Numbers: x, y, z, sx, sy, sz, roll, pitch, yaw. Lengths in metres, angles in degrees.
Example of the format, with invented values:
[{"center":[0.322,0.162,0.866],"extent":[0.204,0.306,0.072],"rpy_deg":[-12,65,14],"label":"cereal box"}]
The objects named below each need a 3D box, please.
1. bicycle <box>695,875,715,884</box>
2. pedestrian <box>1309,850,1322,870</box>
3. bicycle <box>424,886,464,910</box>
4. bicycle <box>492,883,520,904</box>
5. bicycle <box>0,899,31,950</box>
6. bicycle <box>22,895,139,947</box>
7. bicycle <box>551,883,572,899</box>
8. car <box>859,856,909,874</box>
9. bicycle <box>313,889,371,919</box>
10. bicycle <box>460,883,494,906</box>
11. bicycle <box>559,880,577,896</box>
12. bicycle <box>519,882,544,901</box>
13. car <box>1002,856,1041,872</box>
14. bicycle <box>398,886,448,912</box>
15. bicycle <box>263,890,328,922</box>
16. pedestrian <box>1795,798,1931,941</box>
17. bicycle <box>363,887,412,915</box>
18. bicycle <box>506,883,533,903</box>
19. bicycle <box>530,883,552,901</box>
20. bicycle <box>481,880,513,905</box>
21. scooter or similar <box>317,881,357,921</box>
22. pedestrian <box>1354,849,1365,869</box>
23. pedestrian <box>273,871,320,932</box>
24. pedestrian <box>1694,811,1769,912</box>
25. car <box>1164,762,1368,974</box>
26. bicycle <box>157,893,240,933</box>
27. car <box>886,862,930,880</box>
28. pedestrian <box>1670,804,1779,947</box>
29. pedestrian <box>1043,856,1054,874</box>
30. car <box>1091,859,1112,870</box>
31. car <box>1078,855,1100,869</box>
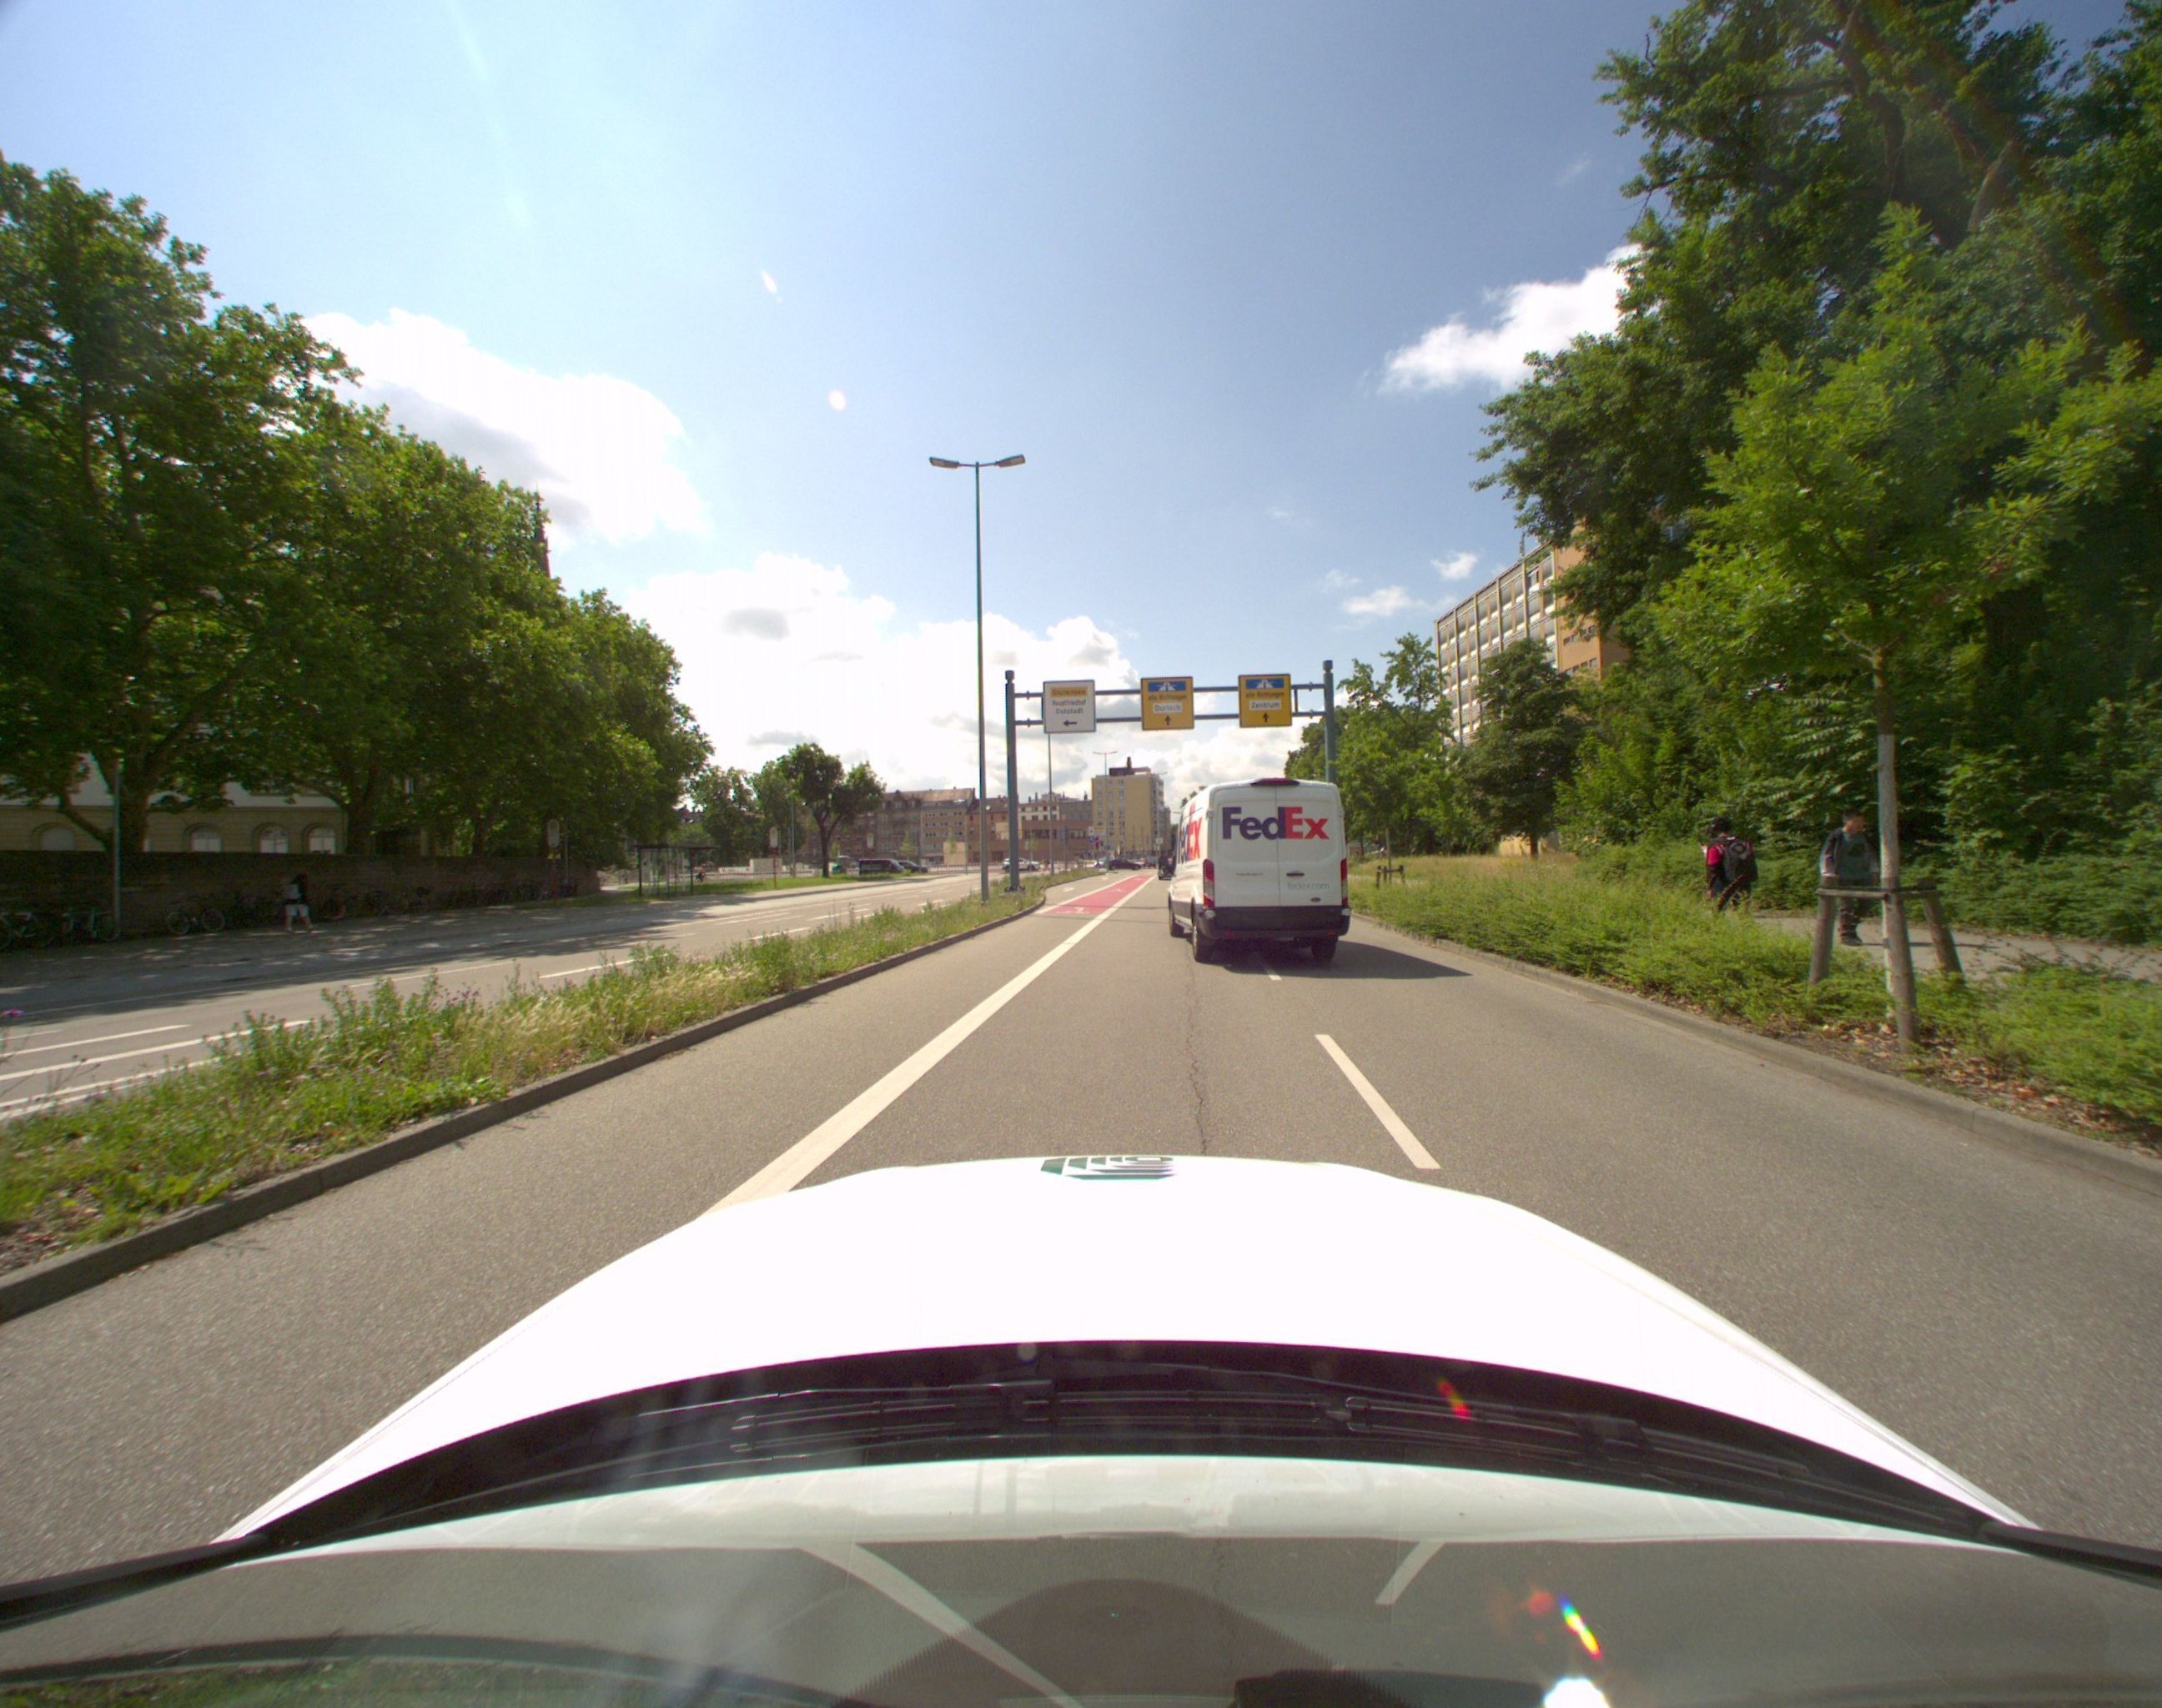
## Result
[{"center":[-43.093,2.936,93.329],"extent":[1.915,1.030,0.547],"rpy_deg":[-1,-1,-2],"label":"bicycle"},{"center":[18.160,0.473,63.056],"extent":[0.840,1.539,0.836],"rpy_deg":[-1,0,5],"label":"pedestrian"},{"center":[-25.897,1.778,33.139],"extent":[0.543,0.902,1.660],"rpy_deg":[-1,0,-10],"label":"bicycle"},{"center":[-27.553,1.876,39.019],"extent":[0.544,0.902,1.657],"rpy_deg":[-1,0,-15],"label":"bicycle"},{"center":[-23.174,1.508,16.849],"extent":[0.543,1.047,1.945],"rpy_deg":[-1,0,-6],"label":"bicycle"},{"center":[-23.313,1.539,19.025],"extent":[0.543,1.047,1.891],"rpy_deg":[-1,0,-6],"label":"bicycle"},{"center":[-30.193,2.139,47.331],"extent":[0.544,0.902,1.657],"rpy_deg":[-1,0,-15],"label":"bicycle"},{"center":[-21.577,1.230,89.298],"extent":[4.988,1.879,1.930],"rpy_deg":[-1,0,2],"label":"car"},{"center":[-24.628,1.639,27.184],"extent":[0.543,0.902,1.662],"rpy_deg":[-1,0,-6],"label":"bicycle"},{"center":[-26.544,1.765,35.811],"extent":[0.544,0.951,1.659],"rpy_deg":[-1,0,-11],"label":"bicycle"},{"center":[-31.001,2.044,49.243],"extent":[0.545,0.902,1.654],"rpy_deg":[-1,0,-20],"label":"bicycle"},{"center":[-28.507,1.945,42.289],"extent":[0.544,0.902,1.657],"rpy_deg":[-1,0,-15],"label":"bicycle"},{"center":[-6.841,1.184,93.800],"extent":[4.341,1.794,2.000],"rpy_deg":[-1,-1,1],"label":"car"},{"center":[-25.291,1.728,31.332],"extent":[0.500,0.902,1.666],"rpy_deg":[-1,0,2],"label":"bicycle"},{"center":[-24.351,1.602,25.295],"extent":[0.543,0.902,1.661],"rpy_deg":[-1,-1,-6],"label":"bicycle"},{"center":[9.860,0.197,10.314],"extent":[0.809,1.722,0.931],"rpy_deg":[-1,-1,7],"label":"pedestrian"},{"center":[-25.158,1.700,29.566],"extent":[0.543,0.902,1.660],"rpy_deg":[-1,0,-9],"label":"bicycle"},{"center":[-28.022,1.925,40.671],"extent":[0.544,0.902,1.657],"rpy_deg":[-1,0,-15],"label":"bicycle"},{"center":[-29.126,2.017,43.953],"extent":[0.453,0.902,1.785],"rpy_deg":[-1,0,-15],"label":"bicycle"},{"center":[-26.856,1.752,37.471],"extent":[0.544,1.051,1.617],"rpy_deg":[-1,0,-11],"label":"bicycle"},{"center":[-23.781,1.488,26.052],"extent":[0.432,1.183,1.187],"rpy_deg":[-1,0,-15],"label":"scooter or similar"},{"center":[29.642,0.558,86.688],"extent":[0.836,2.058,0.745],"rpy_deg":[-1,-1,34],"label":"pedestrian"},{"center":[-21.250,1.274,22.065],"extent":[0.616,1.617,0.753],"rpy_deg":[0,-1,-16],"label":"pedestrian"},{"center":[11.430,0.127,14.333],"extent":[0.718,1.722,0.748],"rpy_deg":[-1,-1,7],"label":"pedestrian"},{"center":[2.636,0.188,13.205],"extent":[2.132,2.652,5.706],"rpy_deg":[-1,0,2],"label":"car"},{"center":[-23.559,1.569,21.786],"extent":[0.543,0.949,1.662],"rpy_deg":[-1,0,-6],"label":"bicycle"},{"center":[-20.032,1.986,94.548],"extent":[4.612,2.014,2.100],"rpy_deg":[-1,-1,1],"label":"car"},{"center":[8.101,0.271,10.292],"extent":[0.712,1.722,0.839],"rpy_deg":[-1,-1,7],"label":"pedestrian"},{"center":[-2.929,0.973,73.228],"extent":[0.877,1.560,0.551],"rpy_deg":[-1,-1,-26],"label":"pedestrian"},{"center":[2.992,1.573,119.332],"extent":[1.885,1.585,4.020],"rpy_deg":[-2,-1,20],"label":"car"},{"center":[1.239,1.249,121.118],"extent":[1.977,2.014,4.020],"rpy_deg":[-2,-1,20],"label":"car"}]
